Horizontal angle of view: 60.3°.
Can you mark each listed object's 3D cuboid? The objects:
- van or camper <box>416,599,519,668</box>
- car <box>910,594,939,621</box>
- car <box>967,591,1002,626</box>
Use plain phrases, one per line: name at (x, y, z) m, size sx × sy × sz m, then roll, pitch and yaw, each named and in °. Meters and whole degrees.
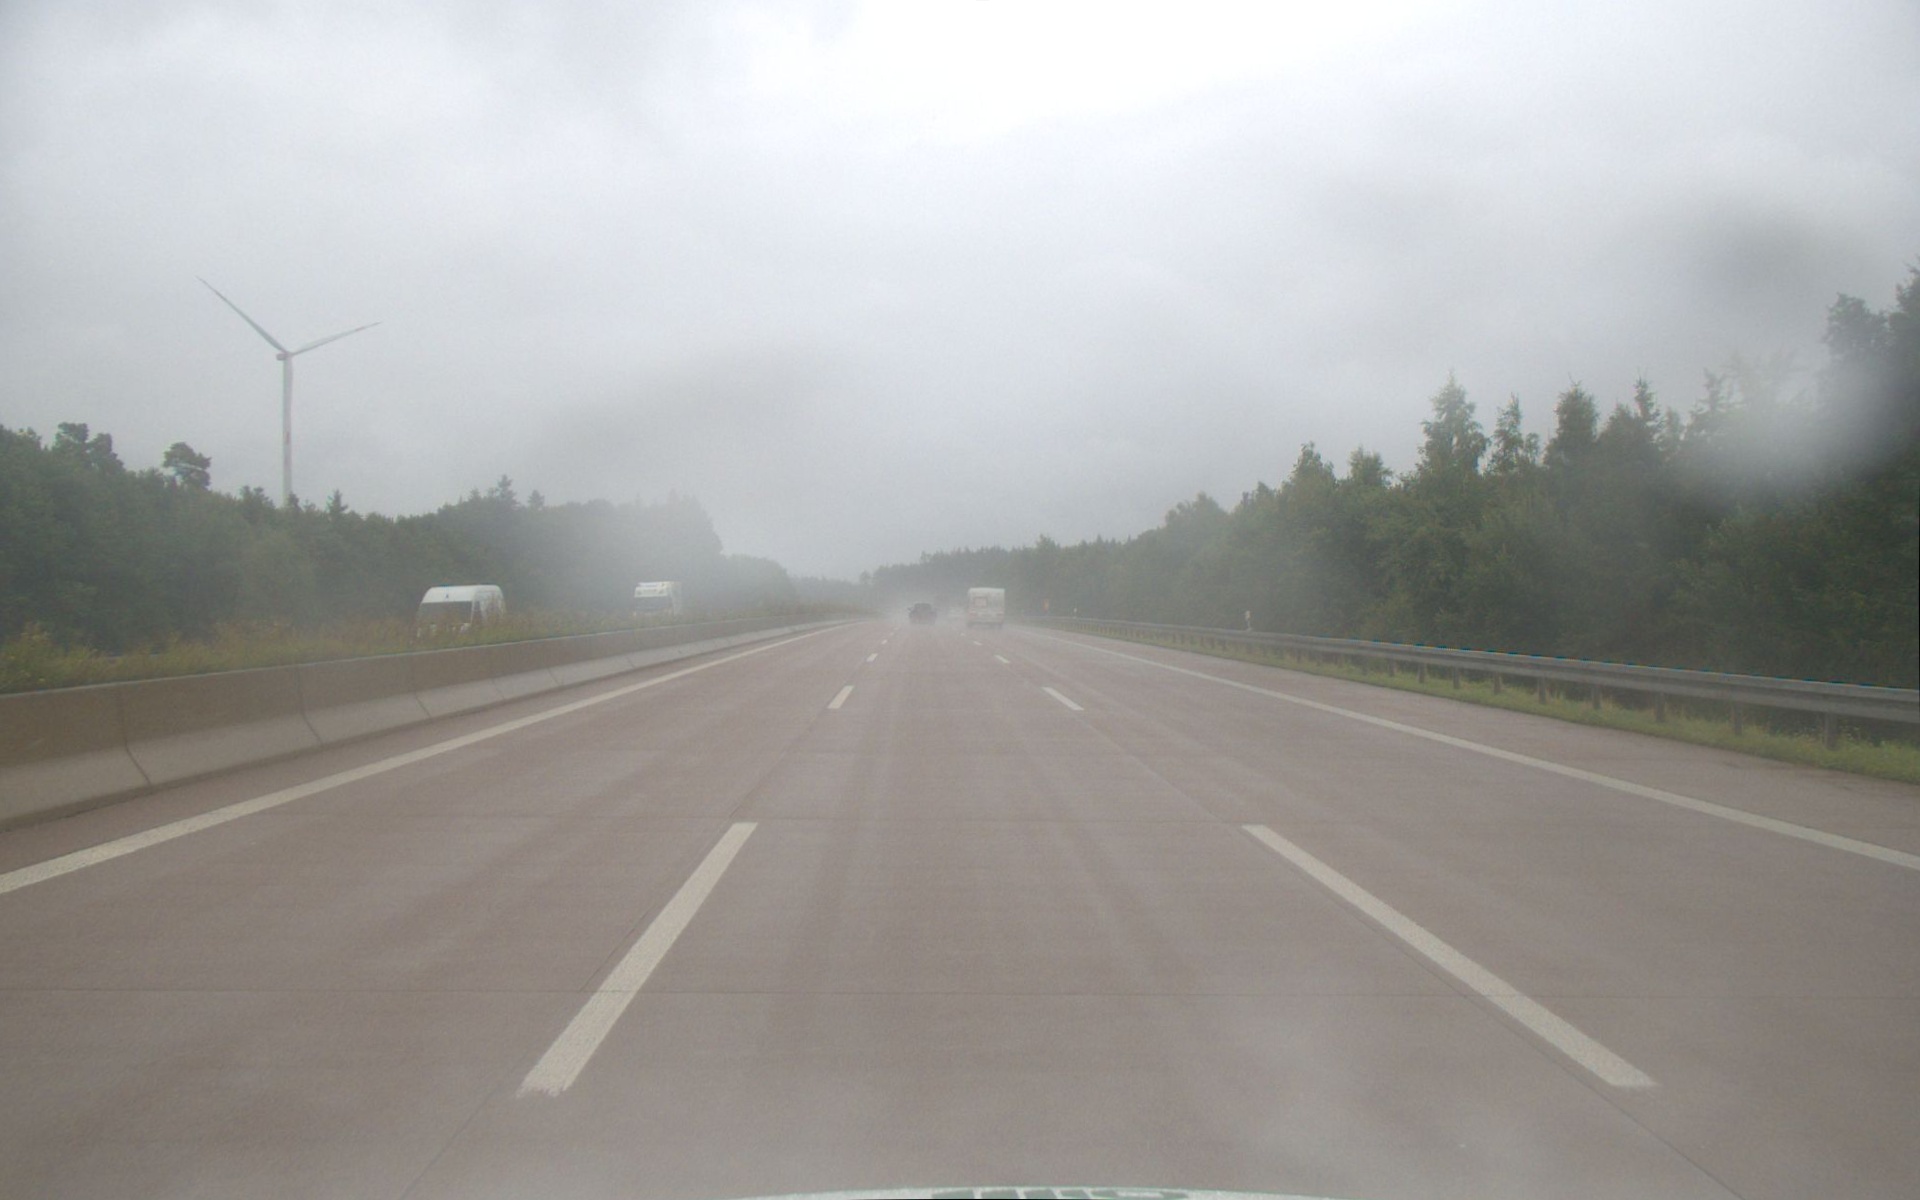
van or camper at (-16.724, 1.076, 56.496) m, size 2.087 × 2.244 × 5.718 m, roll 0°, pitch 0°, yaw -3°
car at (-2.431, 0.509, 113.689) m, size 1.897 × 1.760 × 4.129 m, roll 0°, pitch 0°, yaw -1°
car at (1.517, 0.534, 104.836) m, size 2.016 × 2.034 × 4.098 m, roll 4°, pitch 0°, yaw -1°
